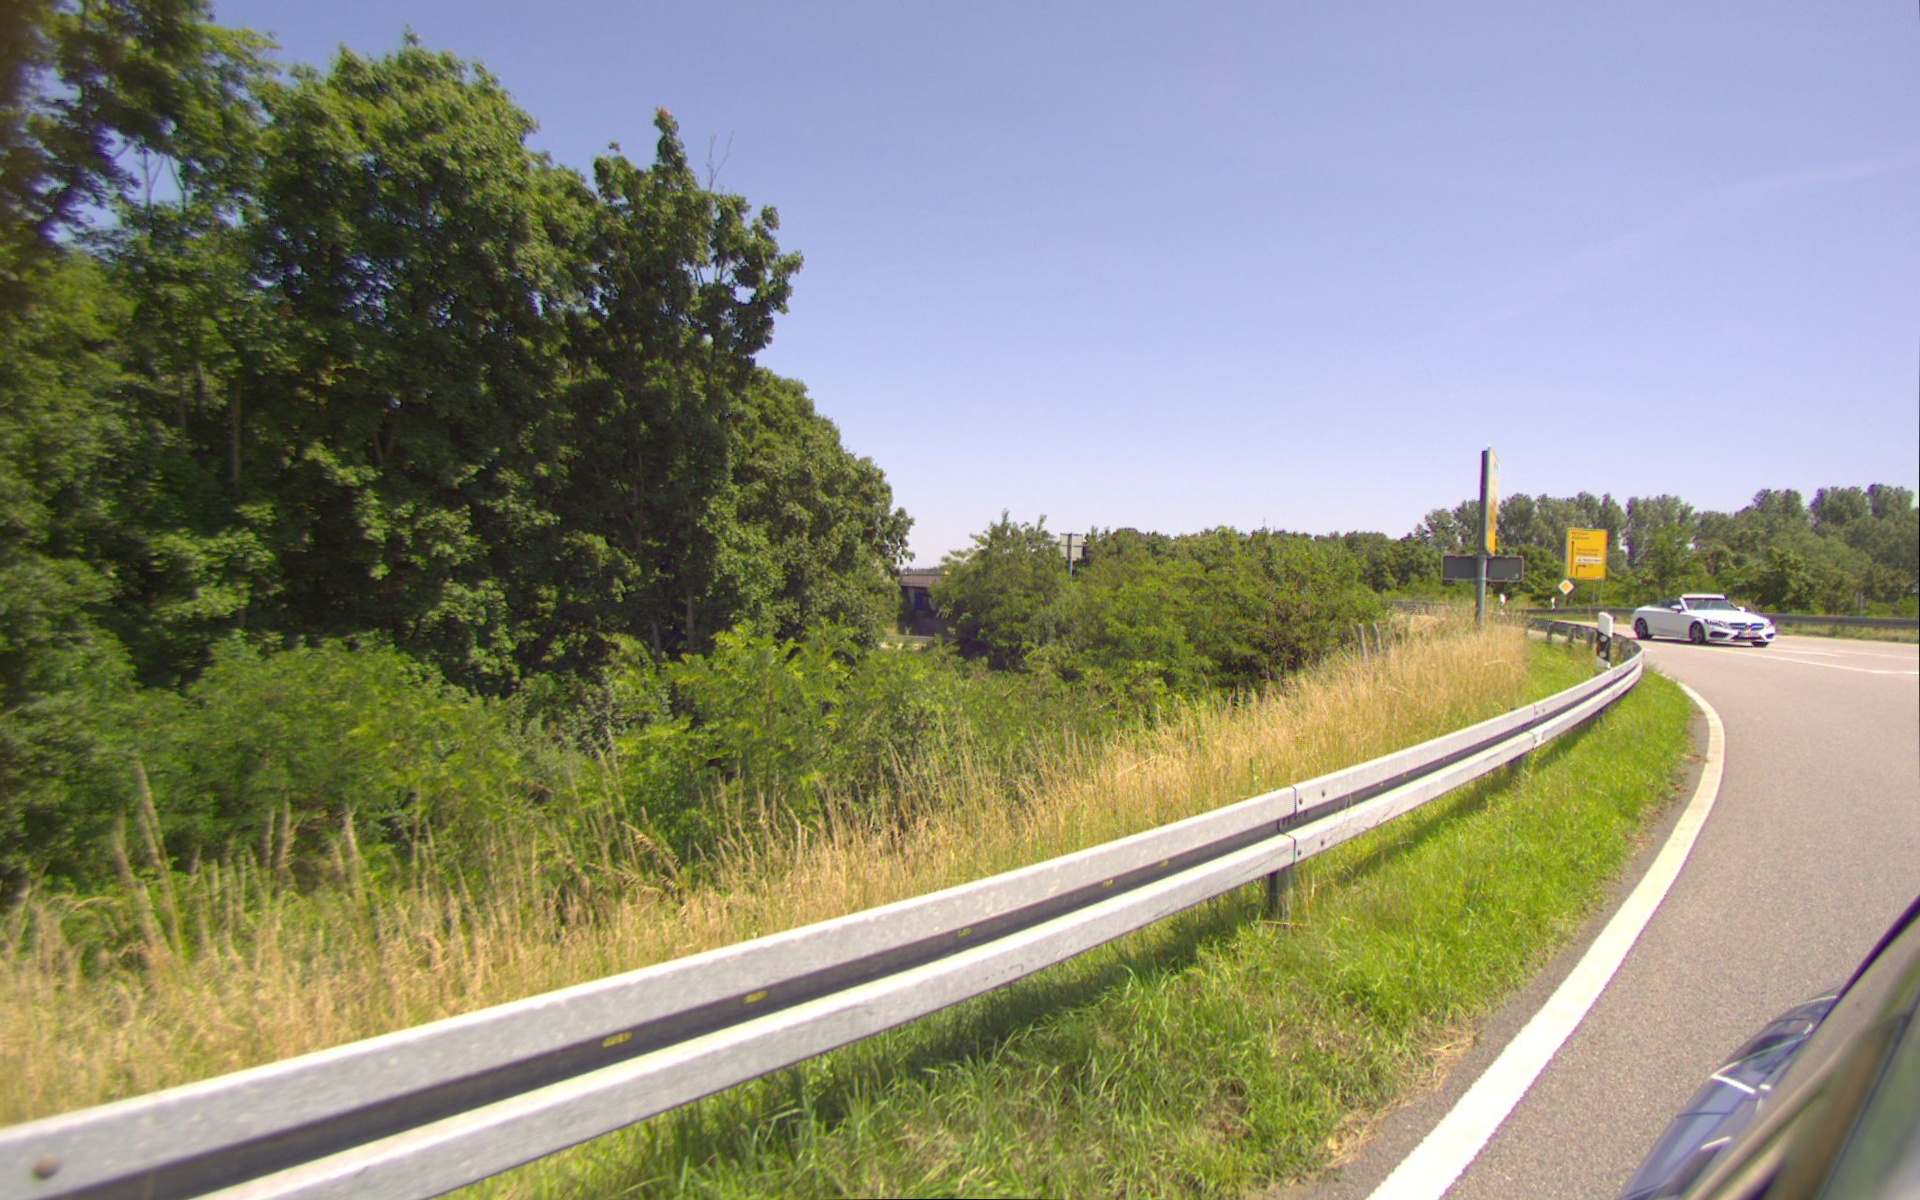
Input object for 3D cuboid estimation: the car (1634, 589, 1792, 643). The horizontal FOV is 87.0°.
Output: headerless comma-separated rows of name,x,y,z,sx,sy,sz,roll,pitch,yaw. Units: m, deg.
car,21.845,0.421,29.590,1.783,1.433,4.104,1,0,5
